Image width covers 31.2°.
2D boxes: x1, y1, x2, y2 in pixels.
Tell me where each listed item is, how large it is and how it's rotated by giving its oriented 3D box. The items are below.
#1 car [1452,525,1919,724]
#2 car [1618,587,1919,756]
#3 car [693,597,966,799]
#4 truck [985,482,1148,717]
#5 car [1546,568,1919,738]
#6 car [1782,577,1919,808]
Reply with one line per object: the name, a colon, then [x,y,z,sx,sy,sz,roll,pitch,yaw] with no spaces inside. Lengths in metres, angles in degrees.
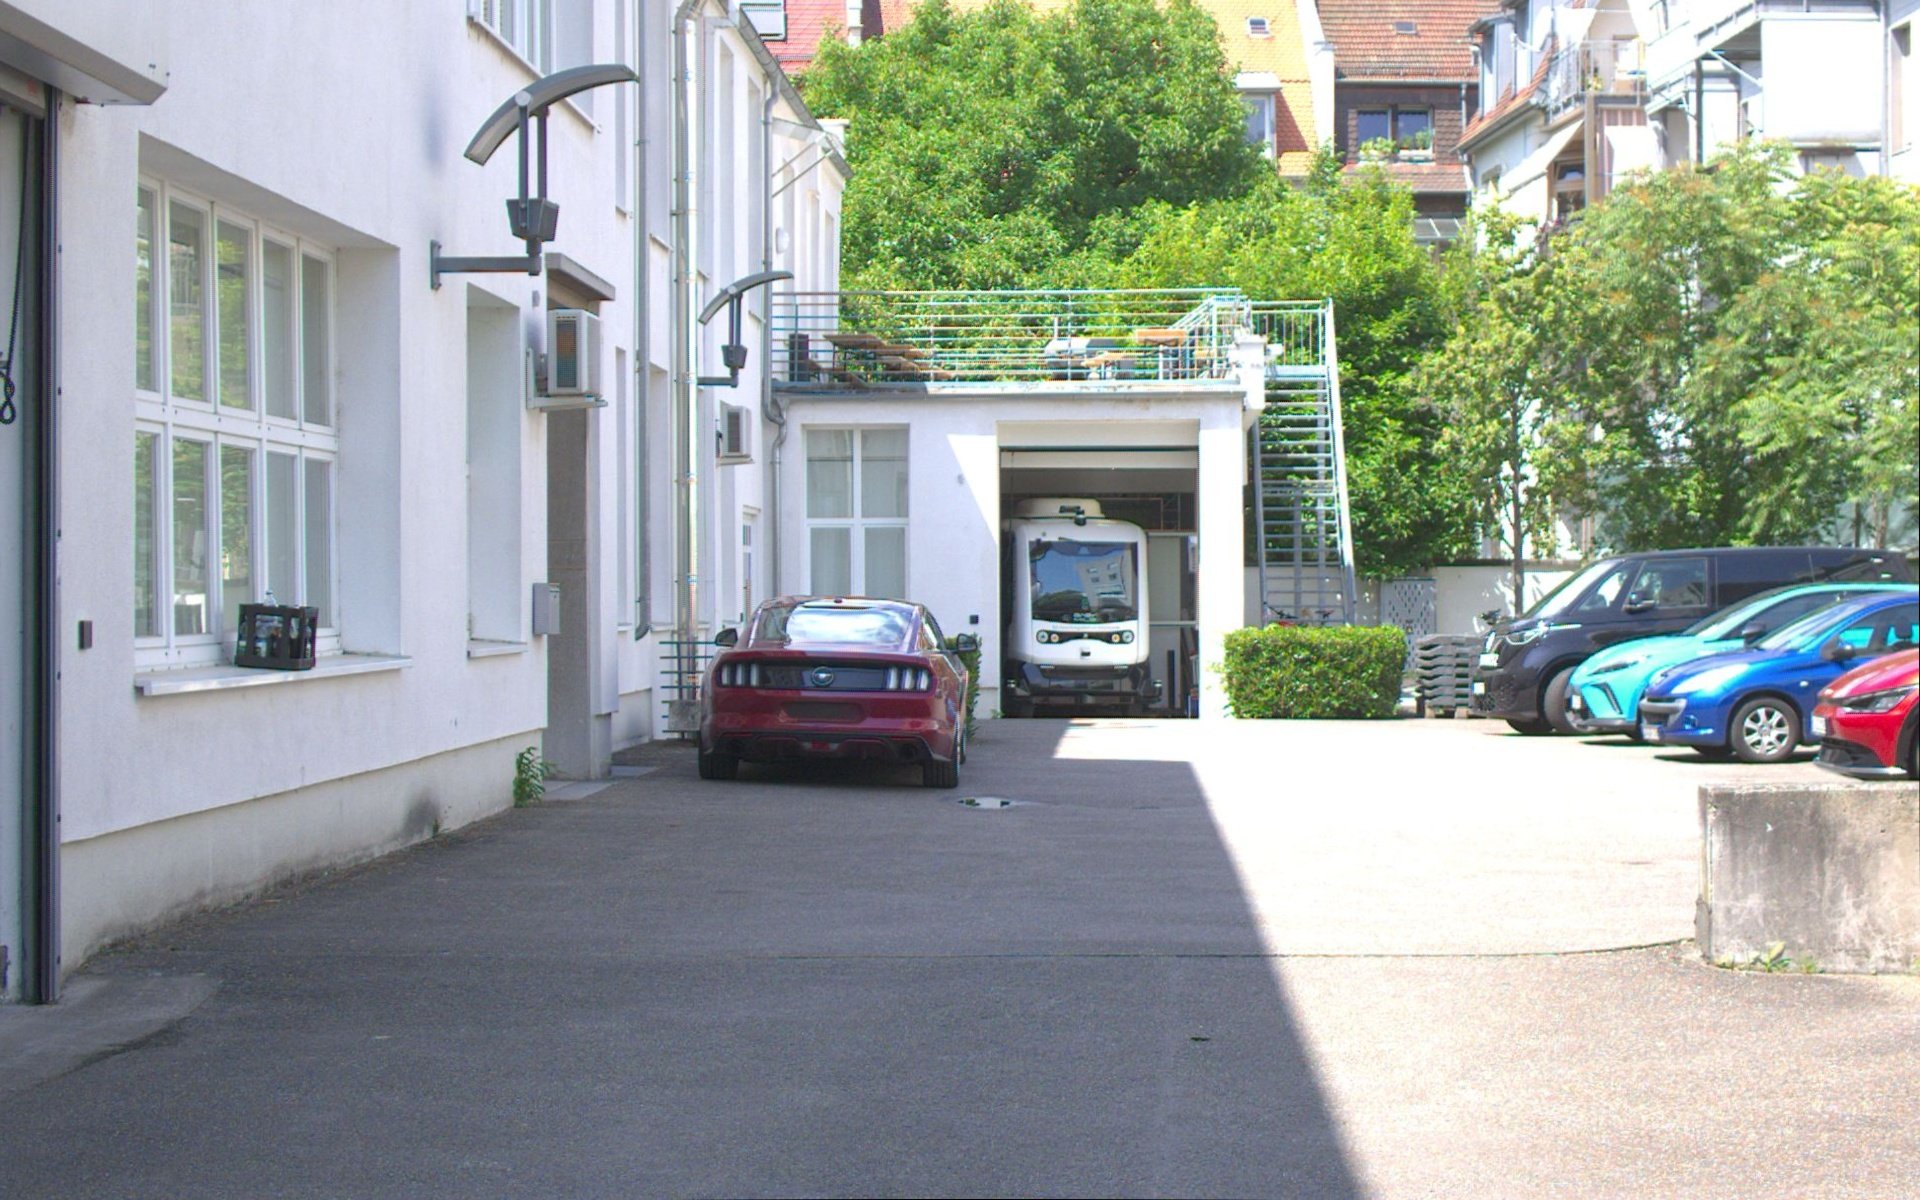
car: [7.598,0.238,35.723,4.677,1.951,2.076,-1,0,1]
car: [7.841,0.588,29.683,3.987,1.385,1.804,-1,0,1]
car: [-0.914,0.687,26.187,1.798,1.385,4.000,0,0,2]
truck: [1.347,-0.016,45.099,1.788,2.927,4.653,0,0,-3]
car: [7.715,0.481,32.673,3.987,1.529,1.804,-1,0,1]
car: [7.715,0.572,23.040,3.987,1.473,1.804,-1,0,1]
